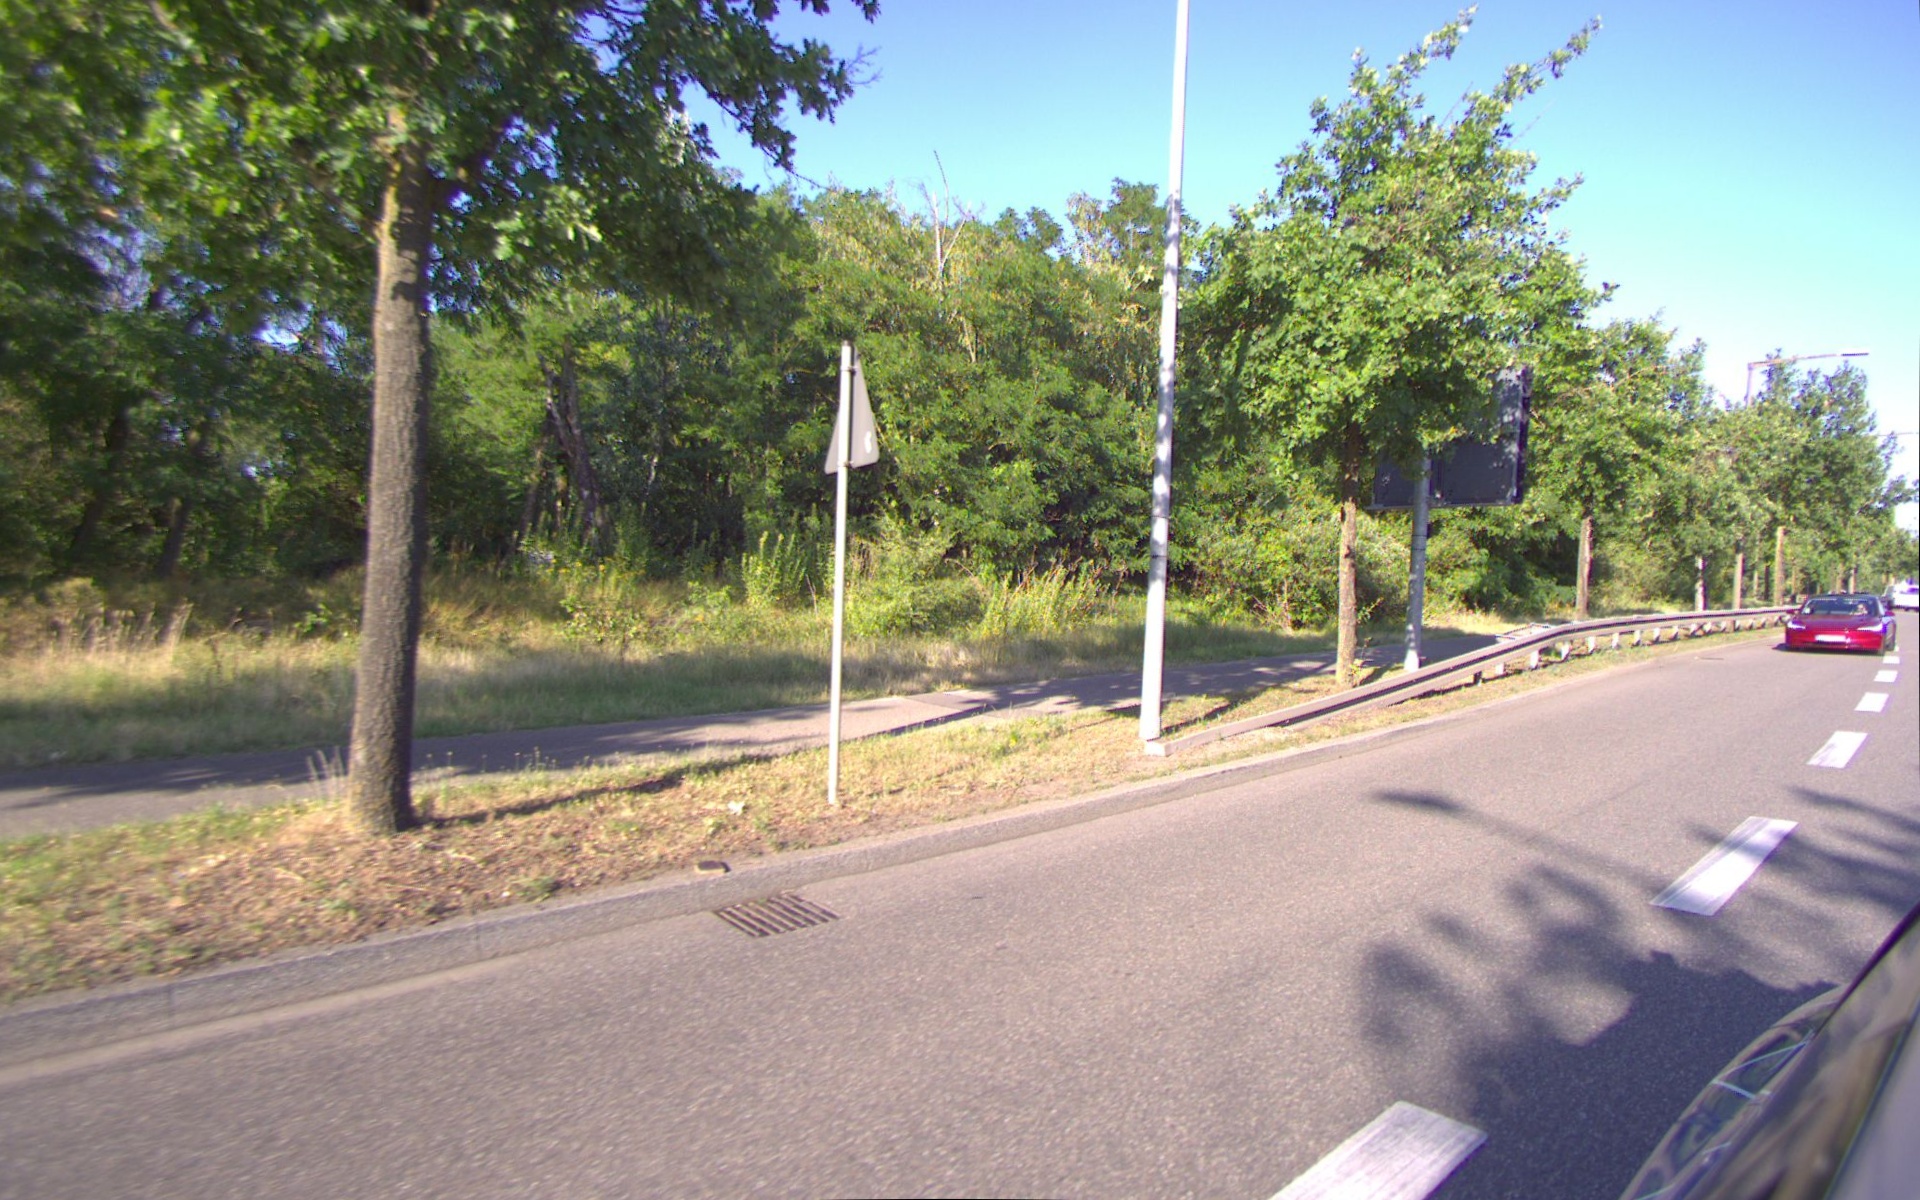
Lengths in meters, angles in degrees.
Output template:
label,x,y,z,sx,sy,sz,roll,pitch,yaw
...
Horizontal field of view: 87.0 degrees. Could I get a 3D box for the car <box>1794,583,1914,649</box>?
label,x,y,z,sx,sy,sz,roll,pitch,yaw
car,22.052,0.329,24.914,4.286,1.460,1.779,-1,2,-43

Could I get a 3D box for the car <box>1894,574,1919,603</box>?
label,x,y,z,sx,sy,sz,roll,pitch,yaw
car,71.294,-0.877,75.306,1.872,2.038,5.195,1,2,35

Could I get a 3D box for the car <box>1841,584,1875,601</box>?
label,x,y,z,sx,sy,sz,roll,pitch,yaw
car,92.104,-0.809,103.788,1.821,1.608,4.595,3,3,32

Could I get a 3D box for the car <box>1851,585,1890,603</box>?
label,x,y,z,sx,sy,sz,roll,pitch,yaw
car,80.233,-0.523,89.235,1.765,1.483,4.334,2,2,32
